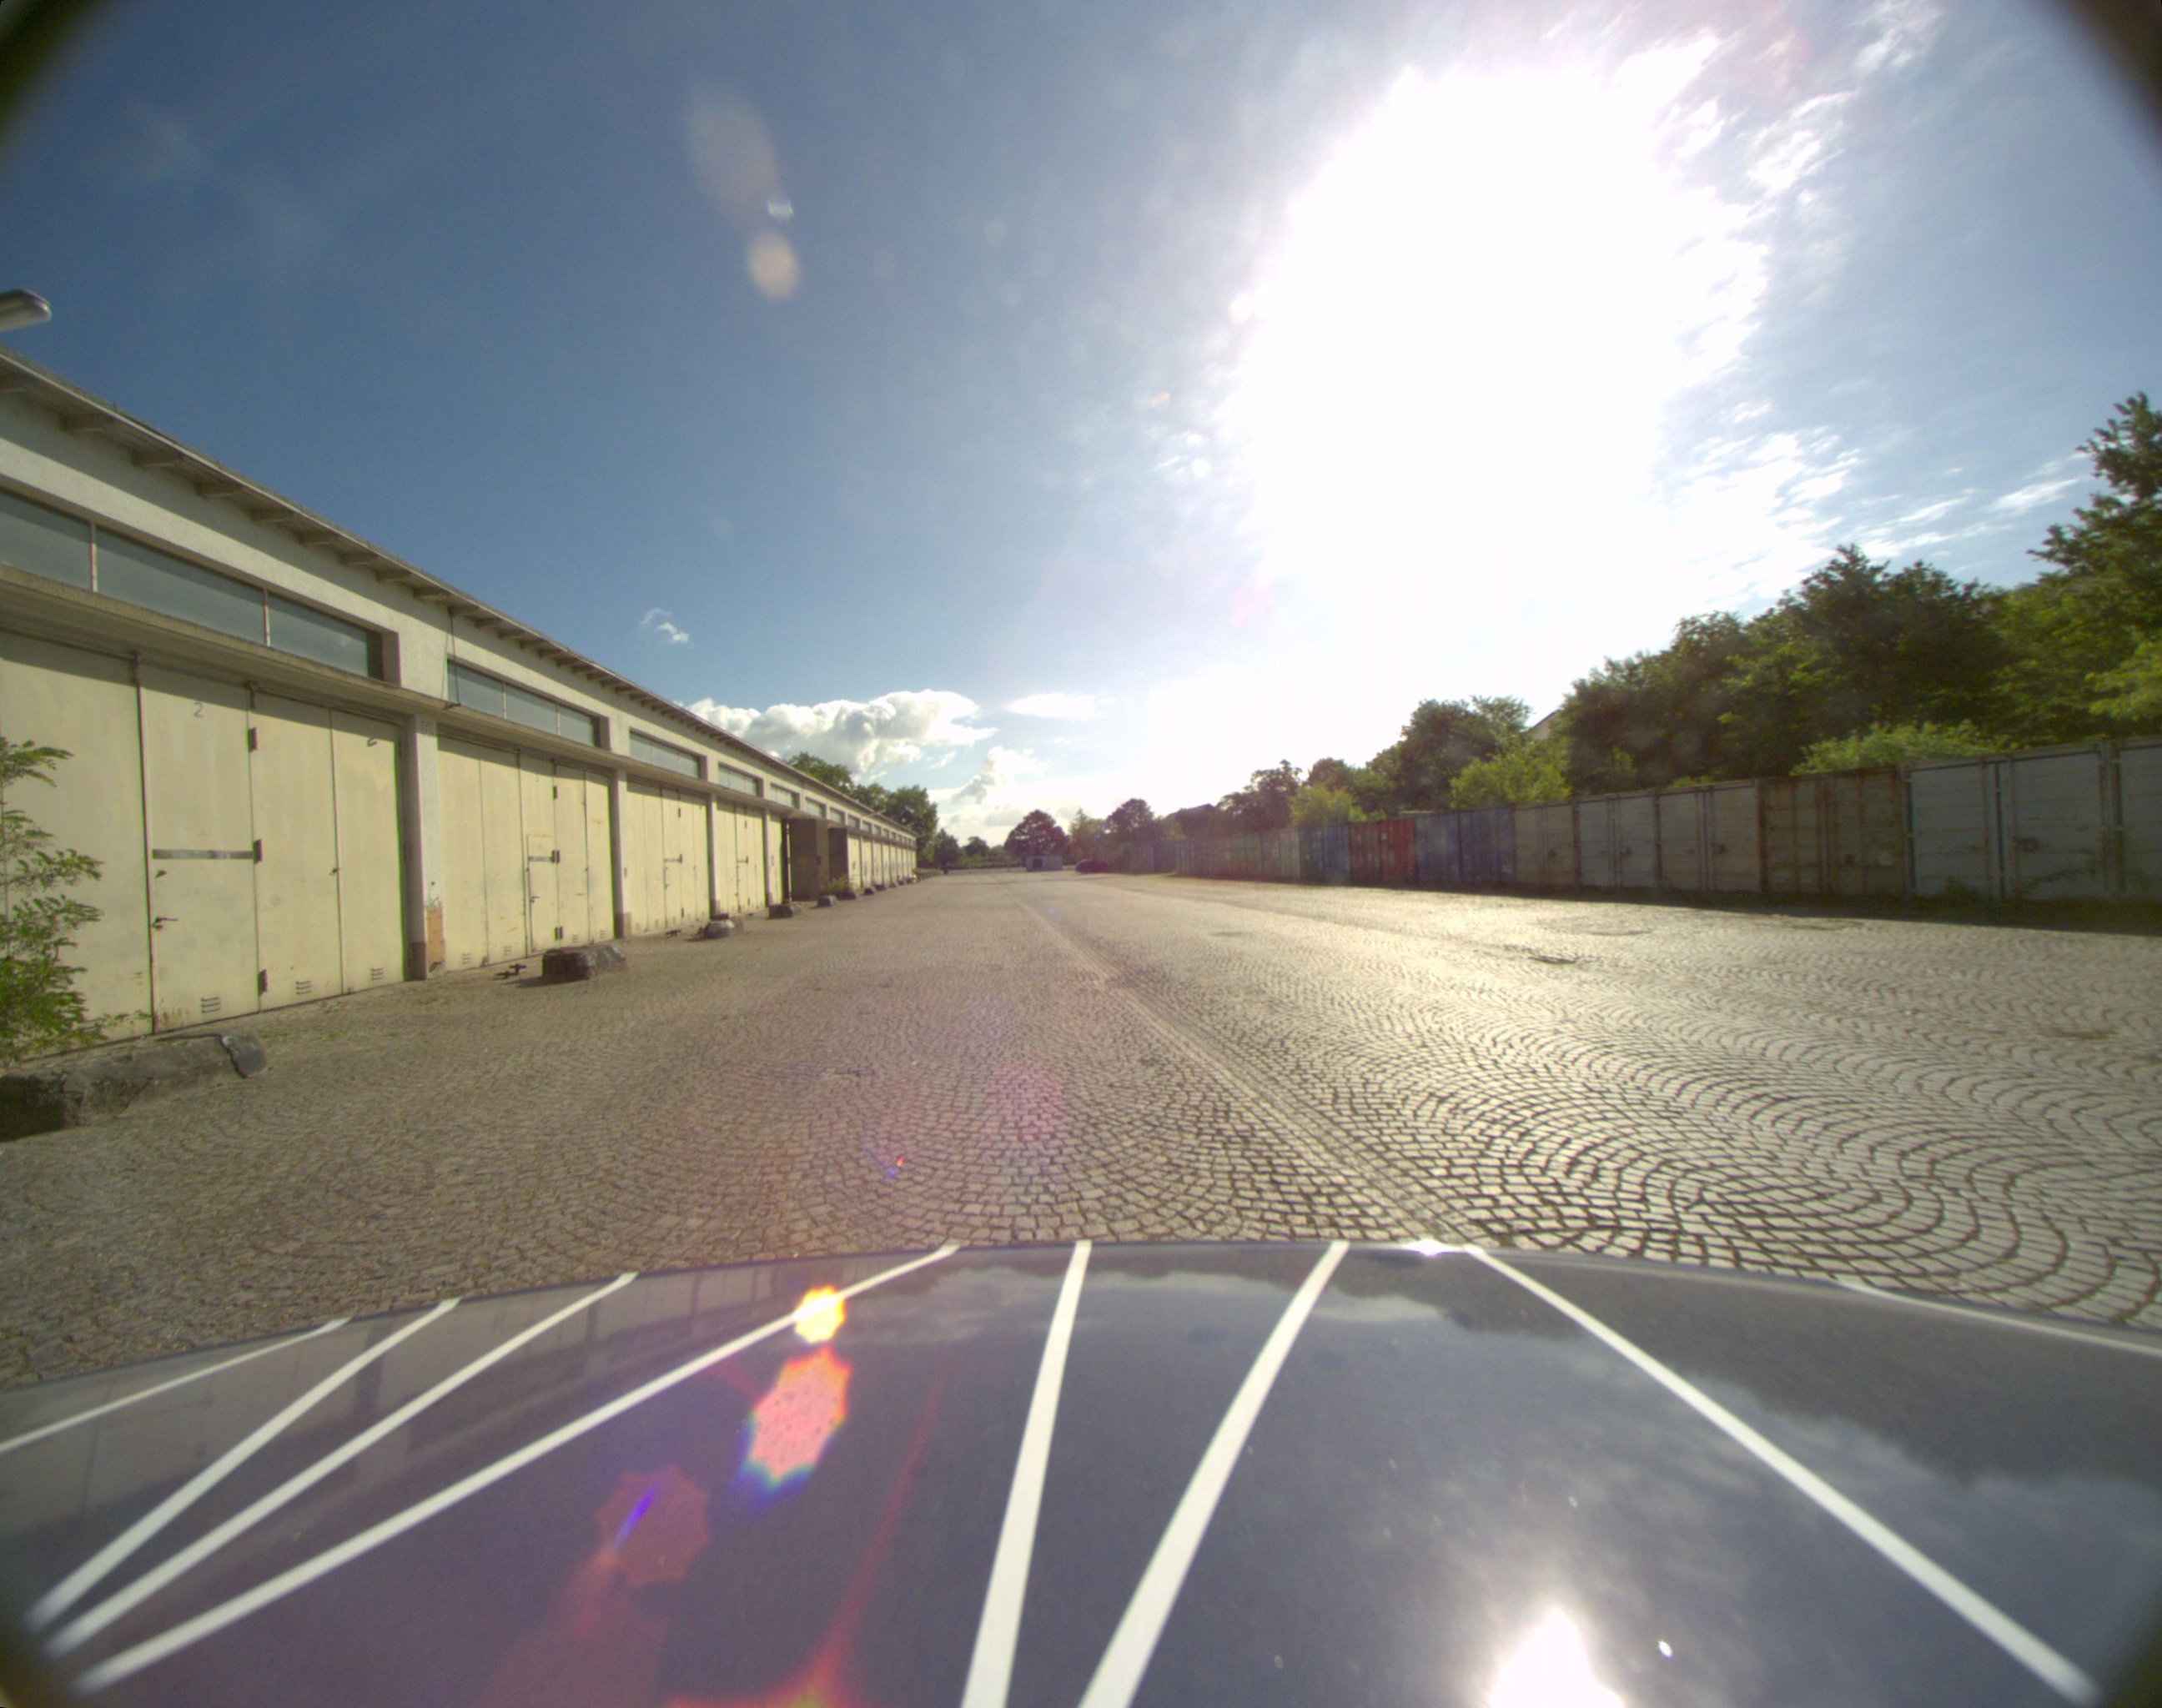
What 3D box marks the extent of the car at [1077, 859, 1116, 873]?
[{"bbox_3d":[1.607,1.289,80.605,3.877,1.259,1.589,-3,0,-10],"label":"car"}]
